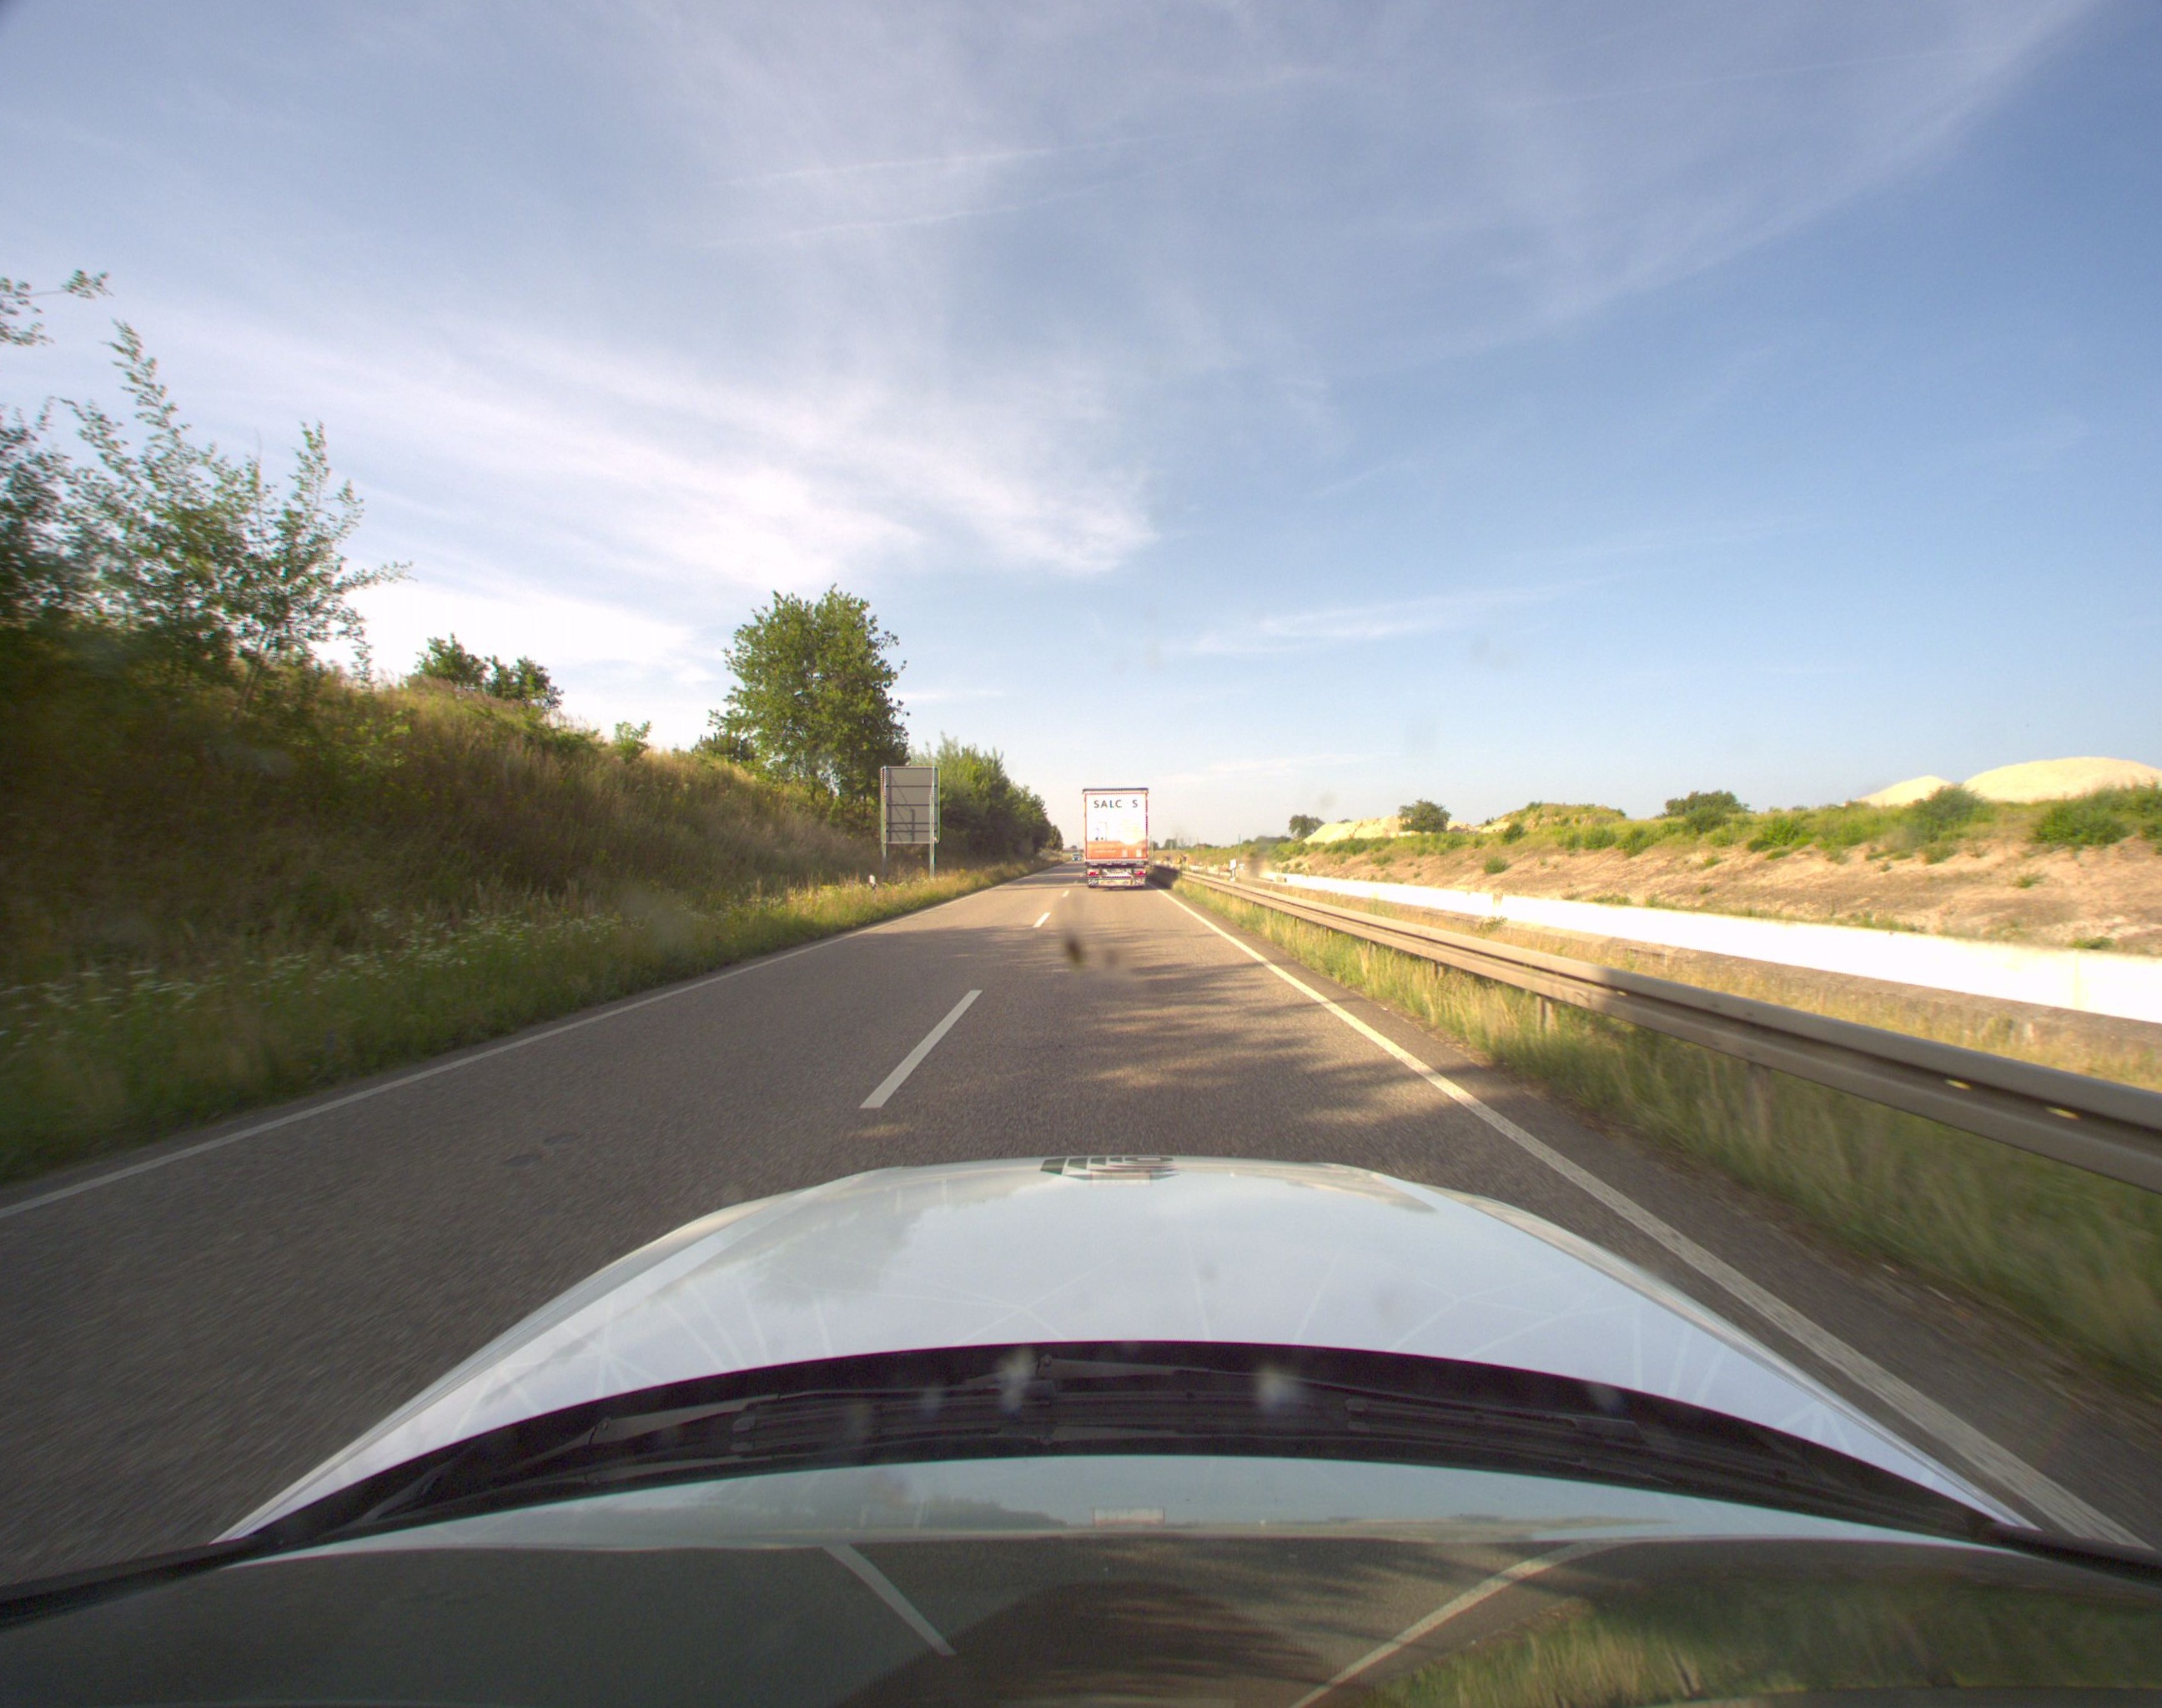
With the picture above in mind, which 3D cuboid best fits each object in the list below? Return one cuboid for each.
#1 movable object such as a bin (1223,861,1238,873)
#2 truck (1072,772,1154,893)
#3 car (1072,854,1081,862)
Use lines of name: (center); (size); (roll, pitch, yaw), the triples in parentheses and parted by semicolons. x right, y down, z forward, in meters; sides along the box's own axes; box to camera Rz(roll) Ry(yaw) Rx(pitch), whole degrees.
movable object such as a bin: (33.807, 3.007, 184.065); (2.877, 2.661, 2.031); (-1, 0, 25)
truck: (1.299, -0.842, 36.194); (3.142, 4.688, 8.442); (-1, 0, 1)
car: (-0.825, 0.795, 163.155); (1.739, 1.564, 4.365); (0, 0, 0)
